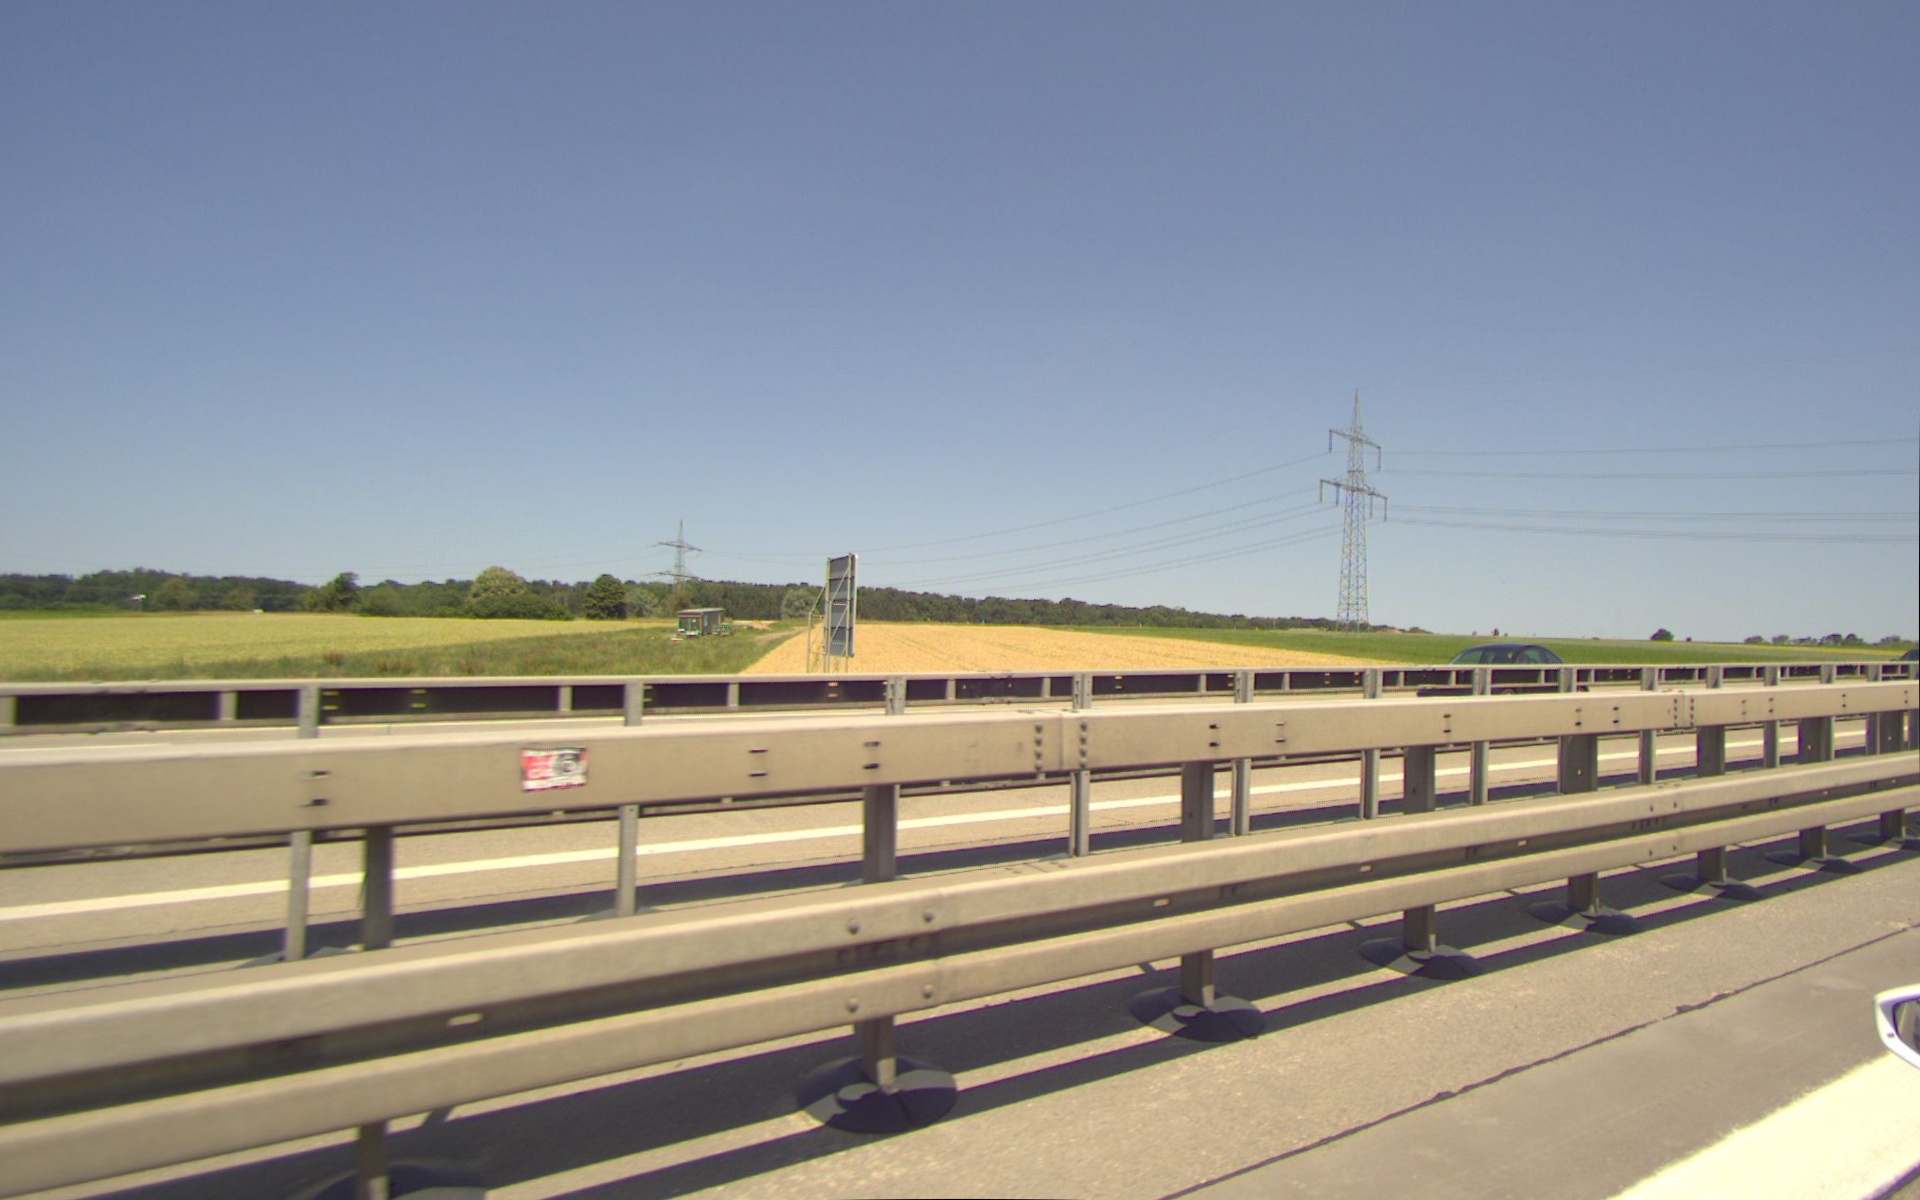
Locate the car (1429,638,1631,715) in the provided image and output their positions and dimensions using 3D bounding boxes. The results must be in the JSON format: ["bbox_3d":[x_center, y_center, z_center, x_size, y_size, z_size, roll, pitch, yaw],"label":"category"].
[{"bbox_3d":[11.950,1.562,20.975,4.514,1.458,1.663,2,-3,-31],"label":"car"}]

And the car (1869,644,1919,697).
[{"bbox_3d":[28.378,2.021,28.983,5.226,1.458,1.798,2,-4,-32],"label":"car"}]
